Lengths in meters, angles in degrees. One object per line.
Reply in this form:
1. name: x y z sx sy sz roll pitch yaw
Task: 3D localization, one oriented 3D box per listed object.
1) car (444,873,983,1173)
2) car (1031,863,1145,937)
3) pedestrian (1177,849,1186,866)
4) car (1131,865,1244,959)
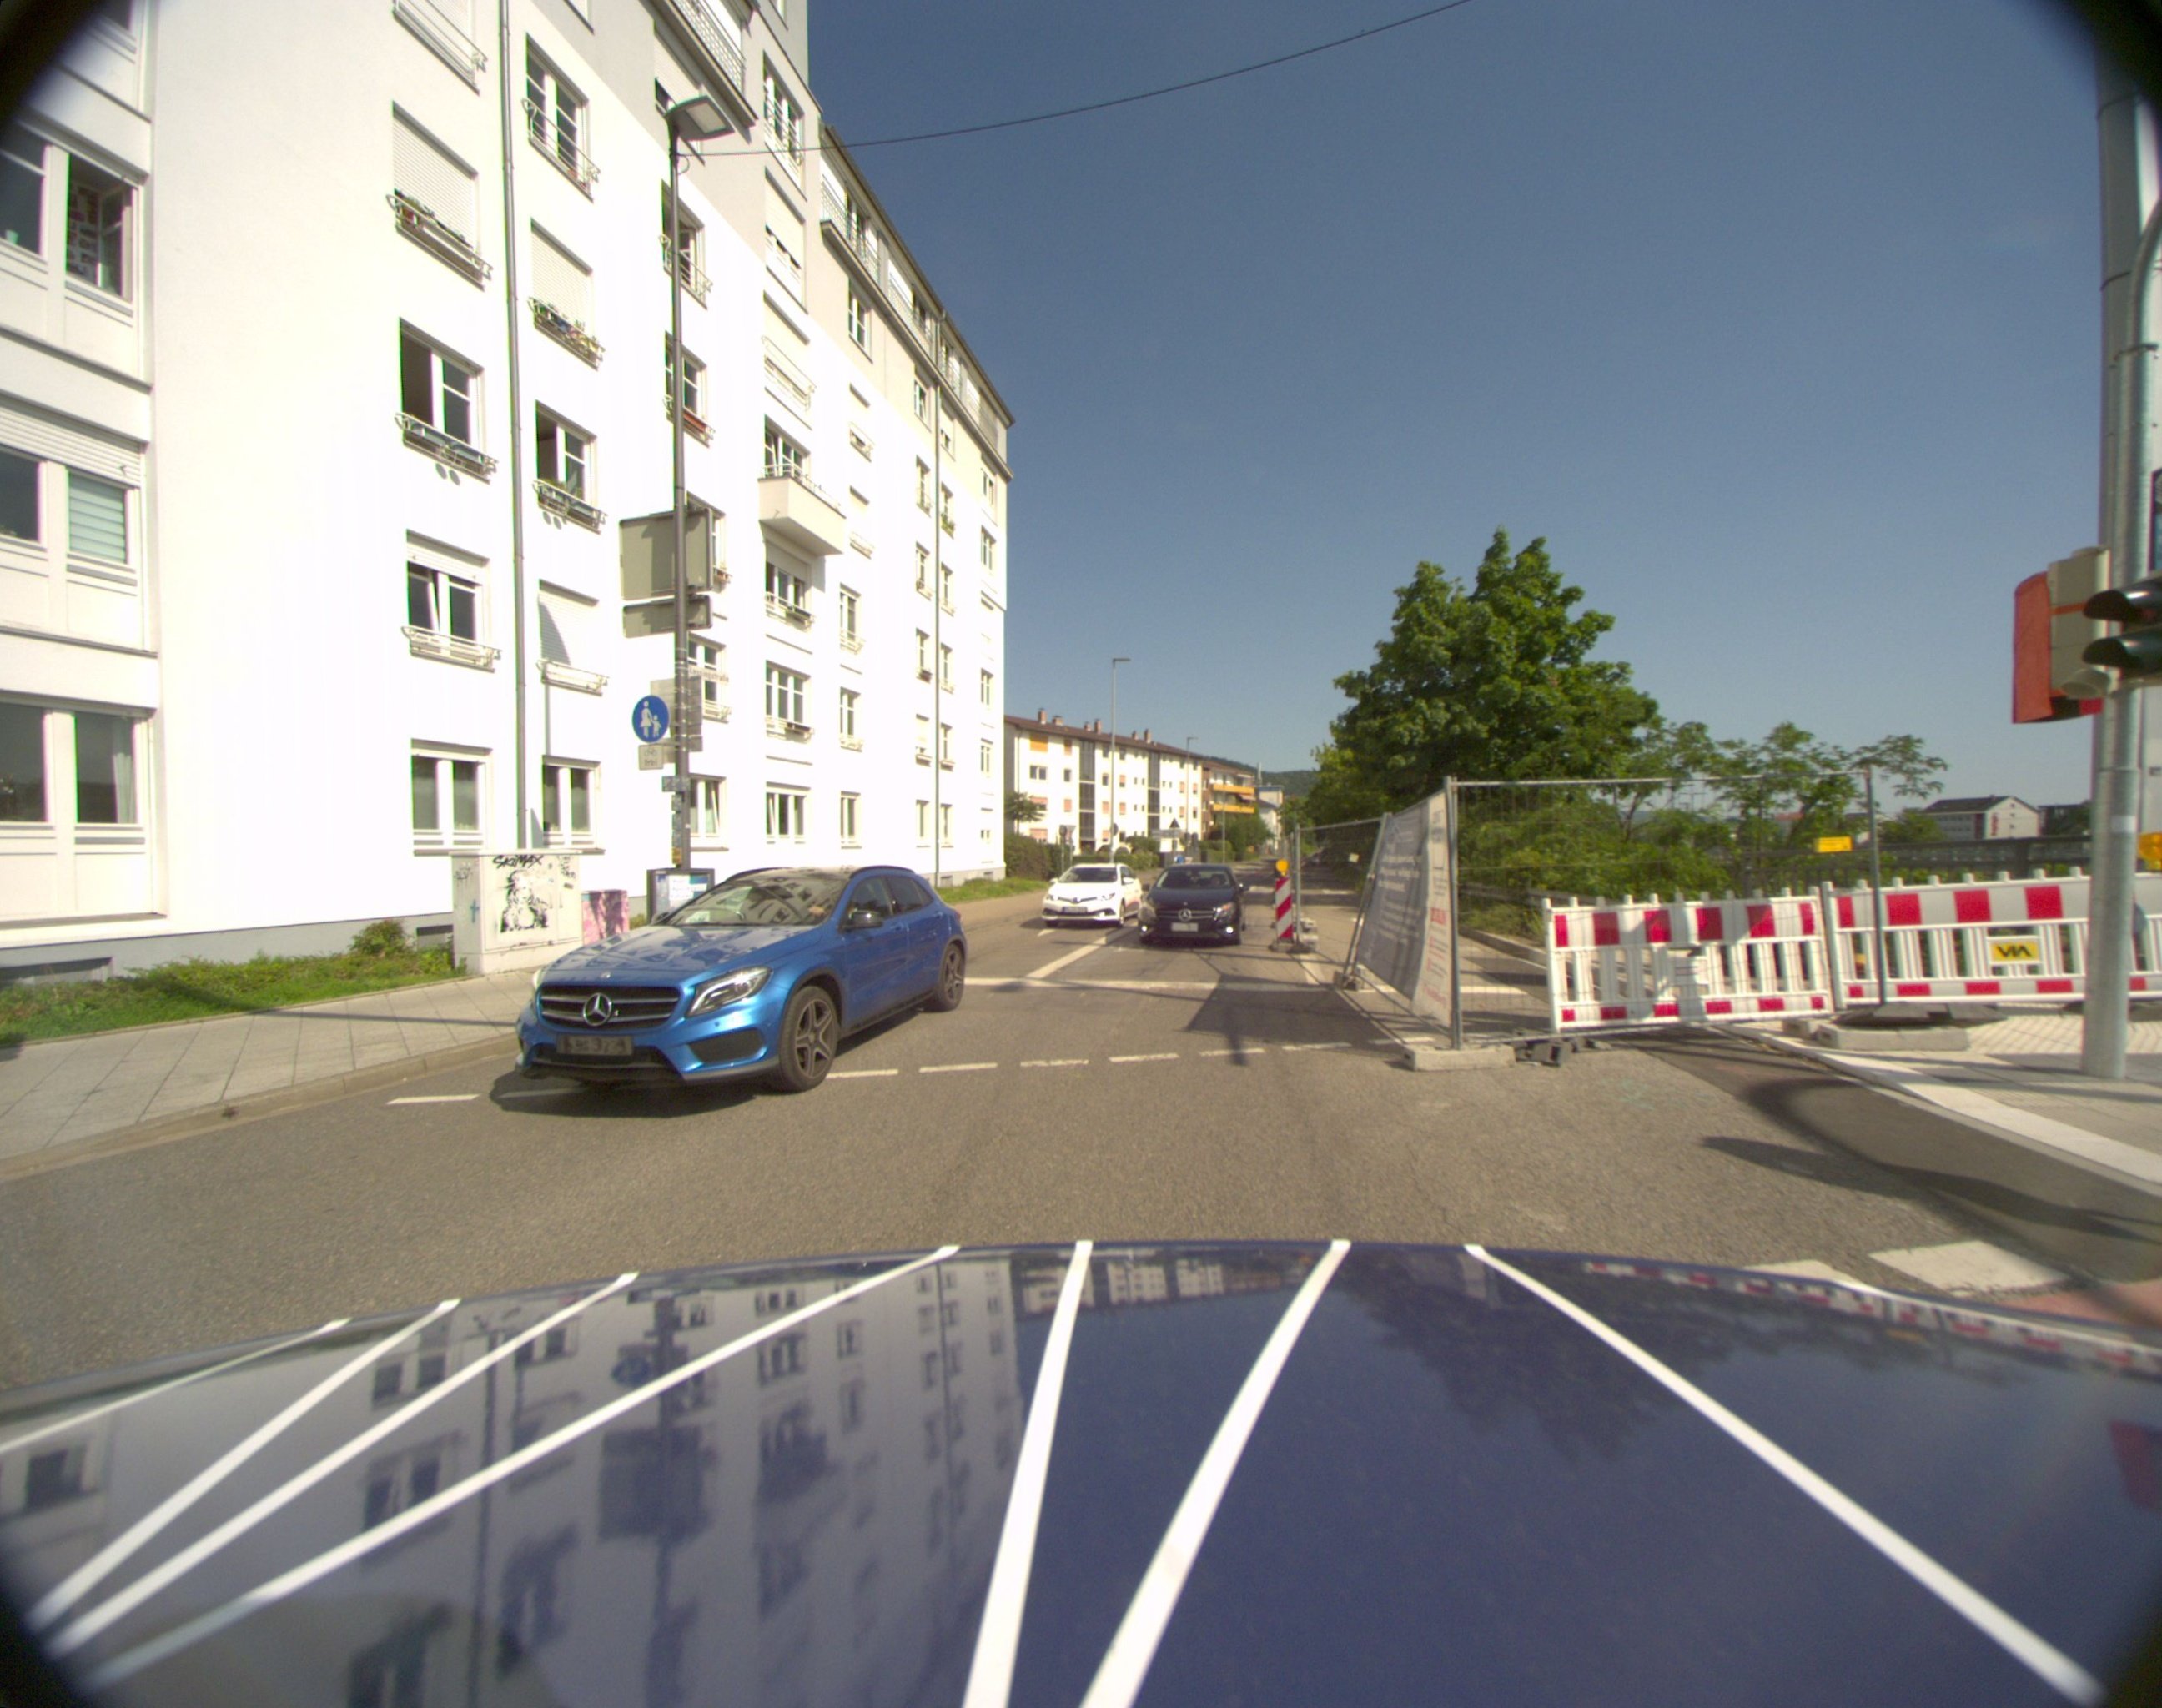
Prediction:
1. car: -2.365 0.974 6.421 1.674 1.472 4.554 -1 0 11
2. car: 0.307 0.979 17.826 1.699 1.404 4.490 -1 0 13
3. pedestrian: 9.258 0.297 70.031 0.607 1.500 0.771 -1 2 17
4. car: 2.178 0.956 14.473 1.701 1.400 4.627 -1 0 13
